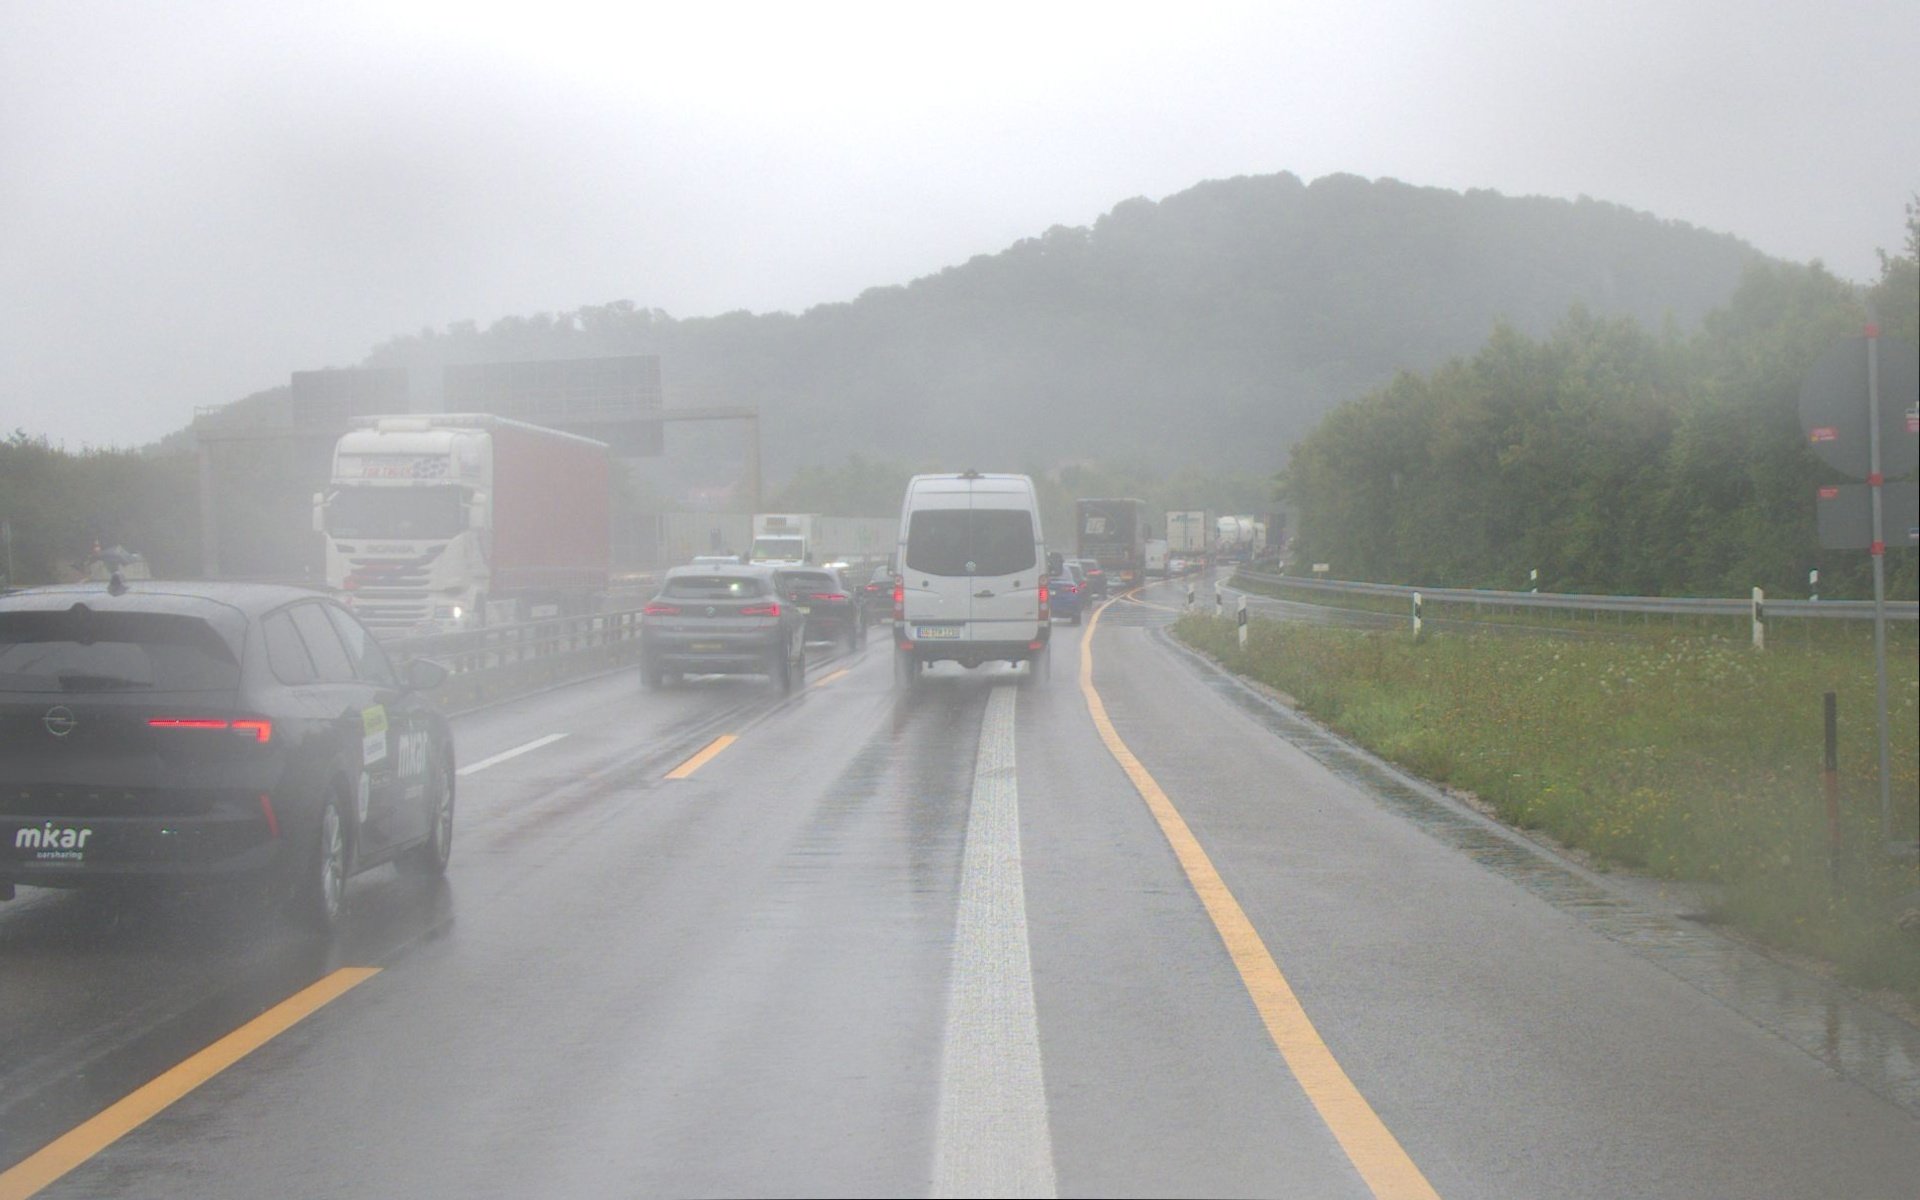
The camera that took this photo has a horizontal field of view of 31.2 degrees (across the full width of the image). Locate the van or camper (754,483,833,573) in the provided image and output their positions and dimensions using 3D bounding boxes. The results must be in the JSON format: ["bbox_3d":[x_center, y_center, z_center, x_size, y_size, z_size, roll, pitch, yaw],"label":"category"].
[{"bbox_3d":[-5.892,-2.534,122.360,2.293,3.031,6.699,1,0,1],"label":"van or camper"}]

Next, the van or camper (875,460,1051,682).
[{"bbox_3d":[0.073,-0.373,44.284,2.139,2.712,4.648,0,0,1],"label":"van or camper"}]

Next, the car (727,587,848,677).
[{"bbox_3d":[-2.970,0.527,59.824,1.852,1.495,4.000,0,0,1],"label":"car"}]

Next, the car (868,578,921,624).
[{"bbox_3d":[-1.568,0.005,82.495,1.262,1.074,3.255,0,0,-1],"label":"car"}]

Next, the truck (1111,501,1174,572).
[{"bbox_3d":[10.218,-3.534,193.293,3.321,3.749,9.906,1,0,2],"label":"truck"}]

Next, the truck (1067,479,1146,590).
[{"bbox_3d":[6.632,-2.888,155.599,3.321,4.768,9.906,1,0,2],"label":"truck"}]

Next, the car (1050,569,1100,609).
[{"bbox_3d":[3.620,-0.352,108.271,1.384,1.252,3.123,0,0,-2],"label":"car"}]

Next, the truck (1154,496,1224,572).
[{"bbox_3d":[15.116,-4.297,225.881,3.929,4.768,9.904,1,0,7],"label":"truck"}]

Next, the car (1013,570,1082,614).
[{"bbox_3d":[2.127,-0.204,84.211,1.384,1.074,3.123,0,0,-4],"label":"car"}]

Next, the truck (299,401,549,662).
[{"bbox_3d":[-9.256,-1.154,60.128,3.008,4.257,6.800,-1,0,2],"label":"truck"}]

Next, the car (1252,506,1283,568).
[{"bbox_3d":[20.958,-4.273,234.402,2.058,4.177,6.745,0,0,5],"label":"car"}]

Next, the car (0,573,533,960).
[{"bbox_3d":[-3.086,0.605,15.197,1.938,1.422,4.760,1,0,-2],"label":"car"}]

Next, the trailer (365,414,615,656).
[{"bbox_3d":[-8.976,-1.200,67.151,2.976,4.280,11.059,-1,0,2],"label":"trailer"}]

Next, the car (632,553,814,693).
[{"bbox_3d":[-2.899,0.257,42.779,1.867,1.653,3.988,0,0,2],"label":"car"}]
